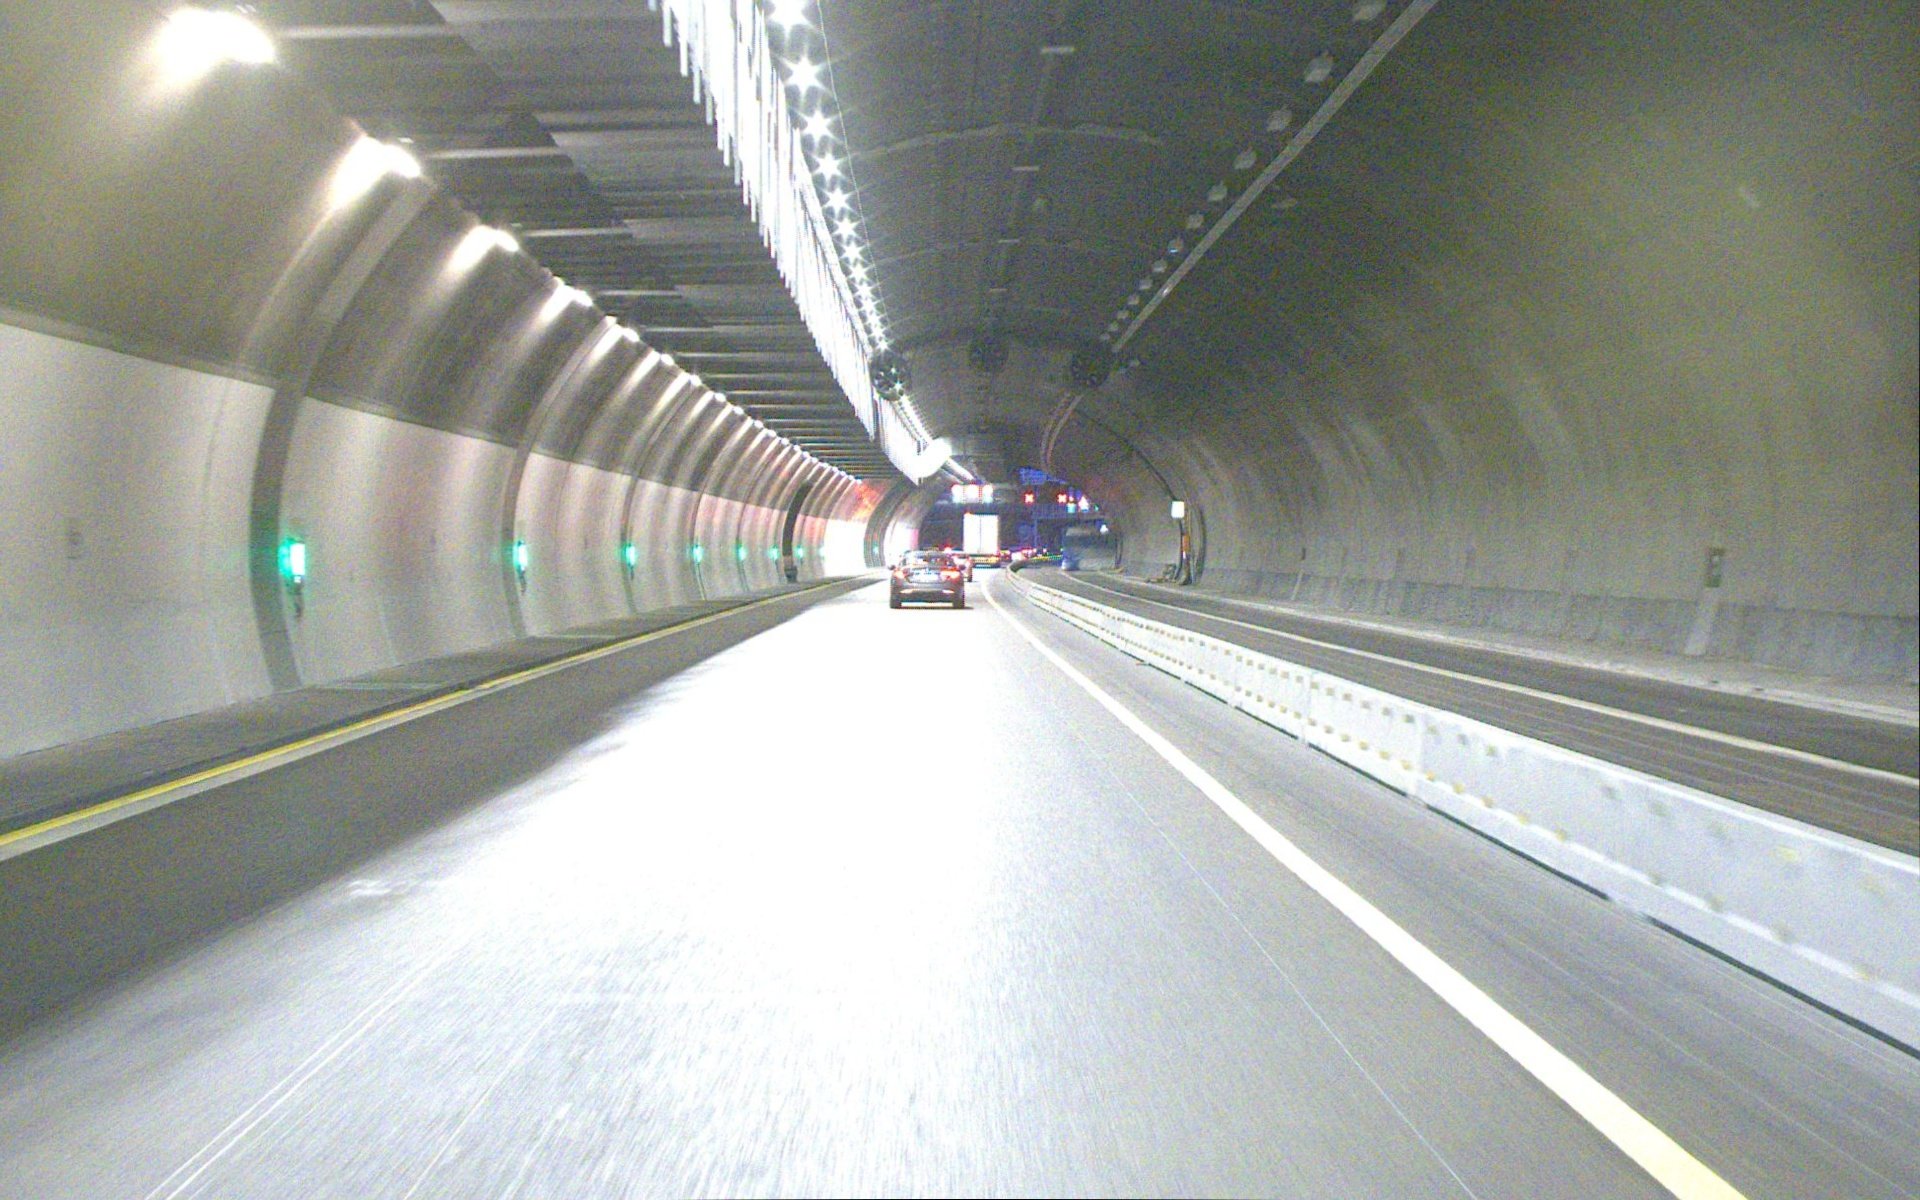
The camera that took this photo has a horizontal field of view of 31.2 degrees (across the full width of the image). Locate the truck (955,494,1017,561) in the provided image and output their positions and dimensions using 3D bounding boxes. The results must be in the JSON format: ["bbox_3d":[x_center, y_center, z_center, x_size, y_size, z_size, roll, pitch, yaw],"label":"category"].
[{"bbox_3d":[2.033,-5.508,261.854,4.546,4.970,9.599,0,1,1],"label":"truck"}]

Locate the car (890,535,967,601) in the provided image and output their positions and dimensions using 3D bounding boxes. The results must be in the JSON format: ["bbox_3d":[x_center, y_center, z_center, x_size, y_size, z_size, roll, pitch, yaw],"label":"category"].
[{"bbox_3d":[-0.828,-0.813,87.006,1.887,1.601,4.000,0,1,-1],"label":"car"}]

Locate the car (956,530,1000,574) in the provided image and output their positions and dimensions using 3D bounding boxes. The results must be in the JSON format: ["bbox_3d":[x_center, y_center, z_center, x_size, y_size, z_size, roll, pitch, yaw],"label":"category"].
[{"bbox_3d":[0.808,-2.237,158.559,1.993,2.007,4.000,0,1,0],"label":"car"}]

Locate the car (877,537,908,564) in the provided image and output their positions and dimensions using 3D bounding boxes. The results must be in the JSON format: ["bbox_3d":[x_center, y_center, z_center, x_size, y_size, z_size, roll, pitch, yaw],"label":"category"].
[{"bbox_3d":[-4.075,-2.968,207.787,1.827,1.601,4.000,0,1,-1],"label":"car"}]
